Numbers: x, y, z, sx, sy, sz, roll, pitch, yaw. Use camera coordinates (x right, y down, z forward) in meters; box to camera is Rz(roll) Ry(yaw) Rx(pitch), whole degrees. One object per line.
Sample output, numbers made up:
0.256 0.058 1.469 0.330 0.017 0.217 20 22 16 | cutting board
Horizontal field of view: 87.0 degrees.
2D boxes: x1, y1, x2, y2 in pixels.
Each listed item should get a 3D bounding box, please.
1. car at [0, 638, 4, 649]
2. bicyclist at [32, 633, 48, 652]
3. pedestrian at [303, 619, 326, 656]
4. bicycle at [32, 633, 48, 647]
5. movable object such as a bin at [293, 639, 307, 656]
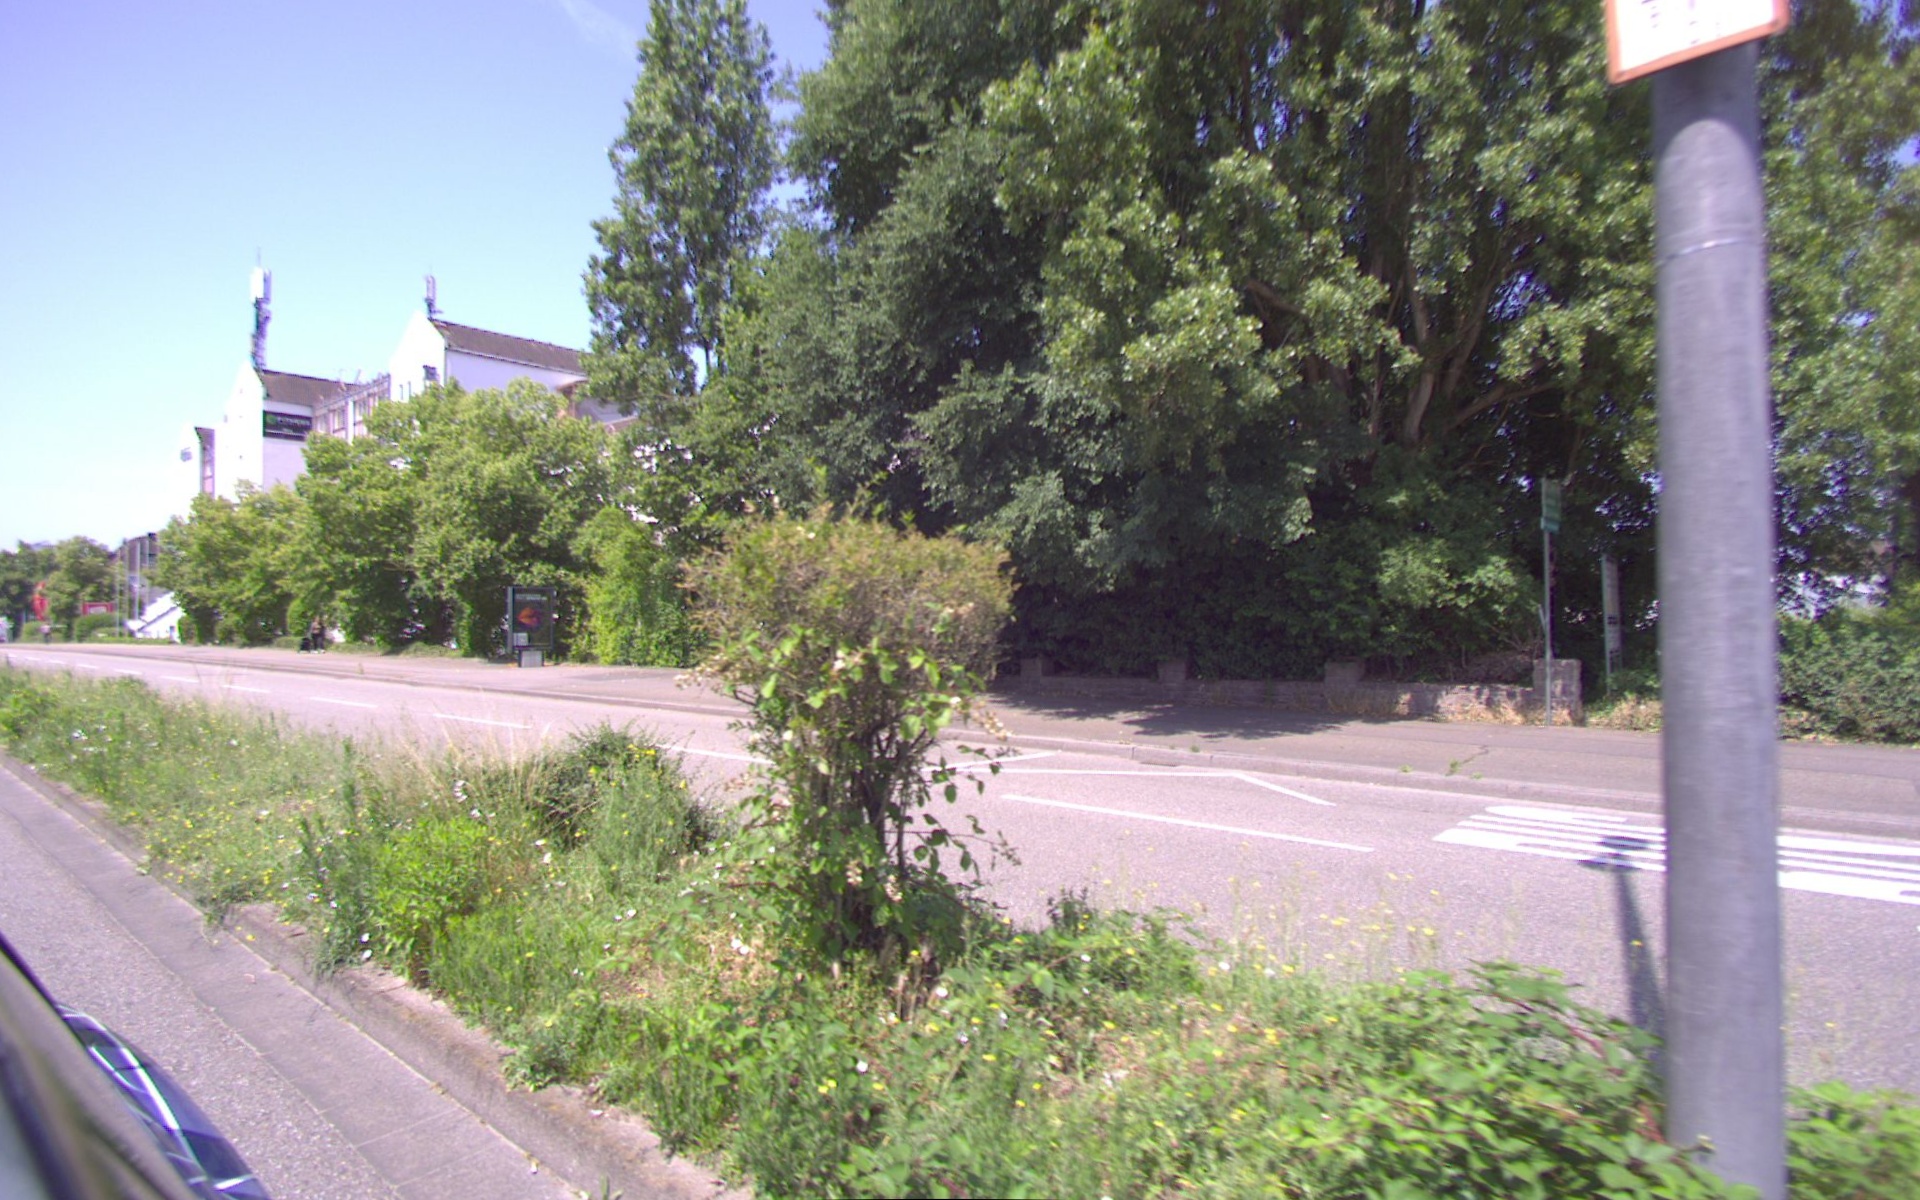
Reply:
-120.322 5.465 125.718 3.994 1.362 1.716 -2 -3 38 | car
-72.689 3.354 79.944 1.025 1.528 0.711 -2 -3 37 | bicyclist
-27.887 1.620 43.712 0.727 1.556 0.626 -2 -3 40 | pedestrian
-72.776 3.179 80.046 2.059 1.081 0.545 -2 -1 38 | bicycle
-28.428 2.054 43.597 0.423 0.711 0.653 2 -3 -41 | movable object such as a bin
